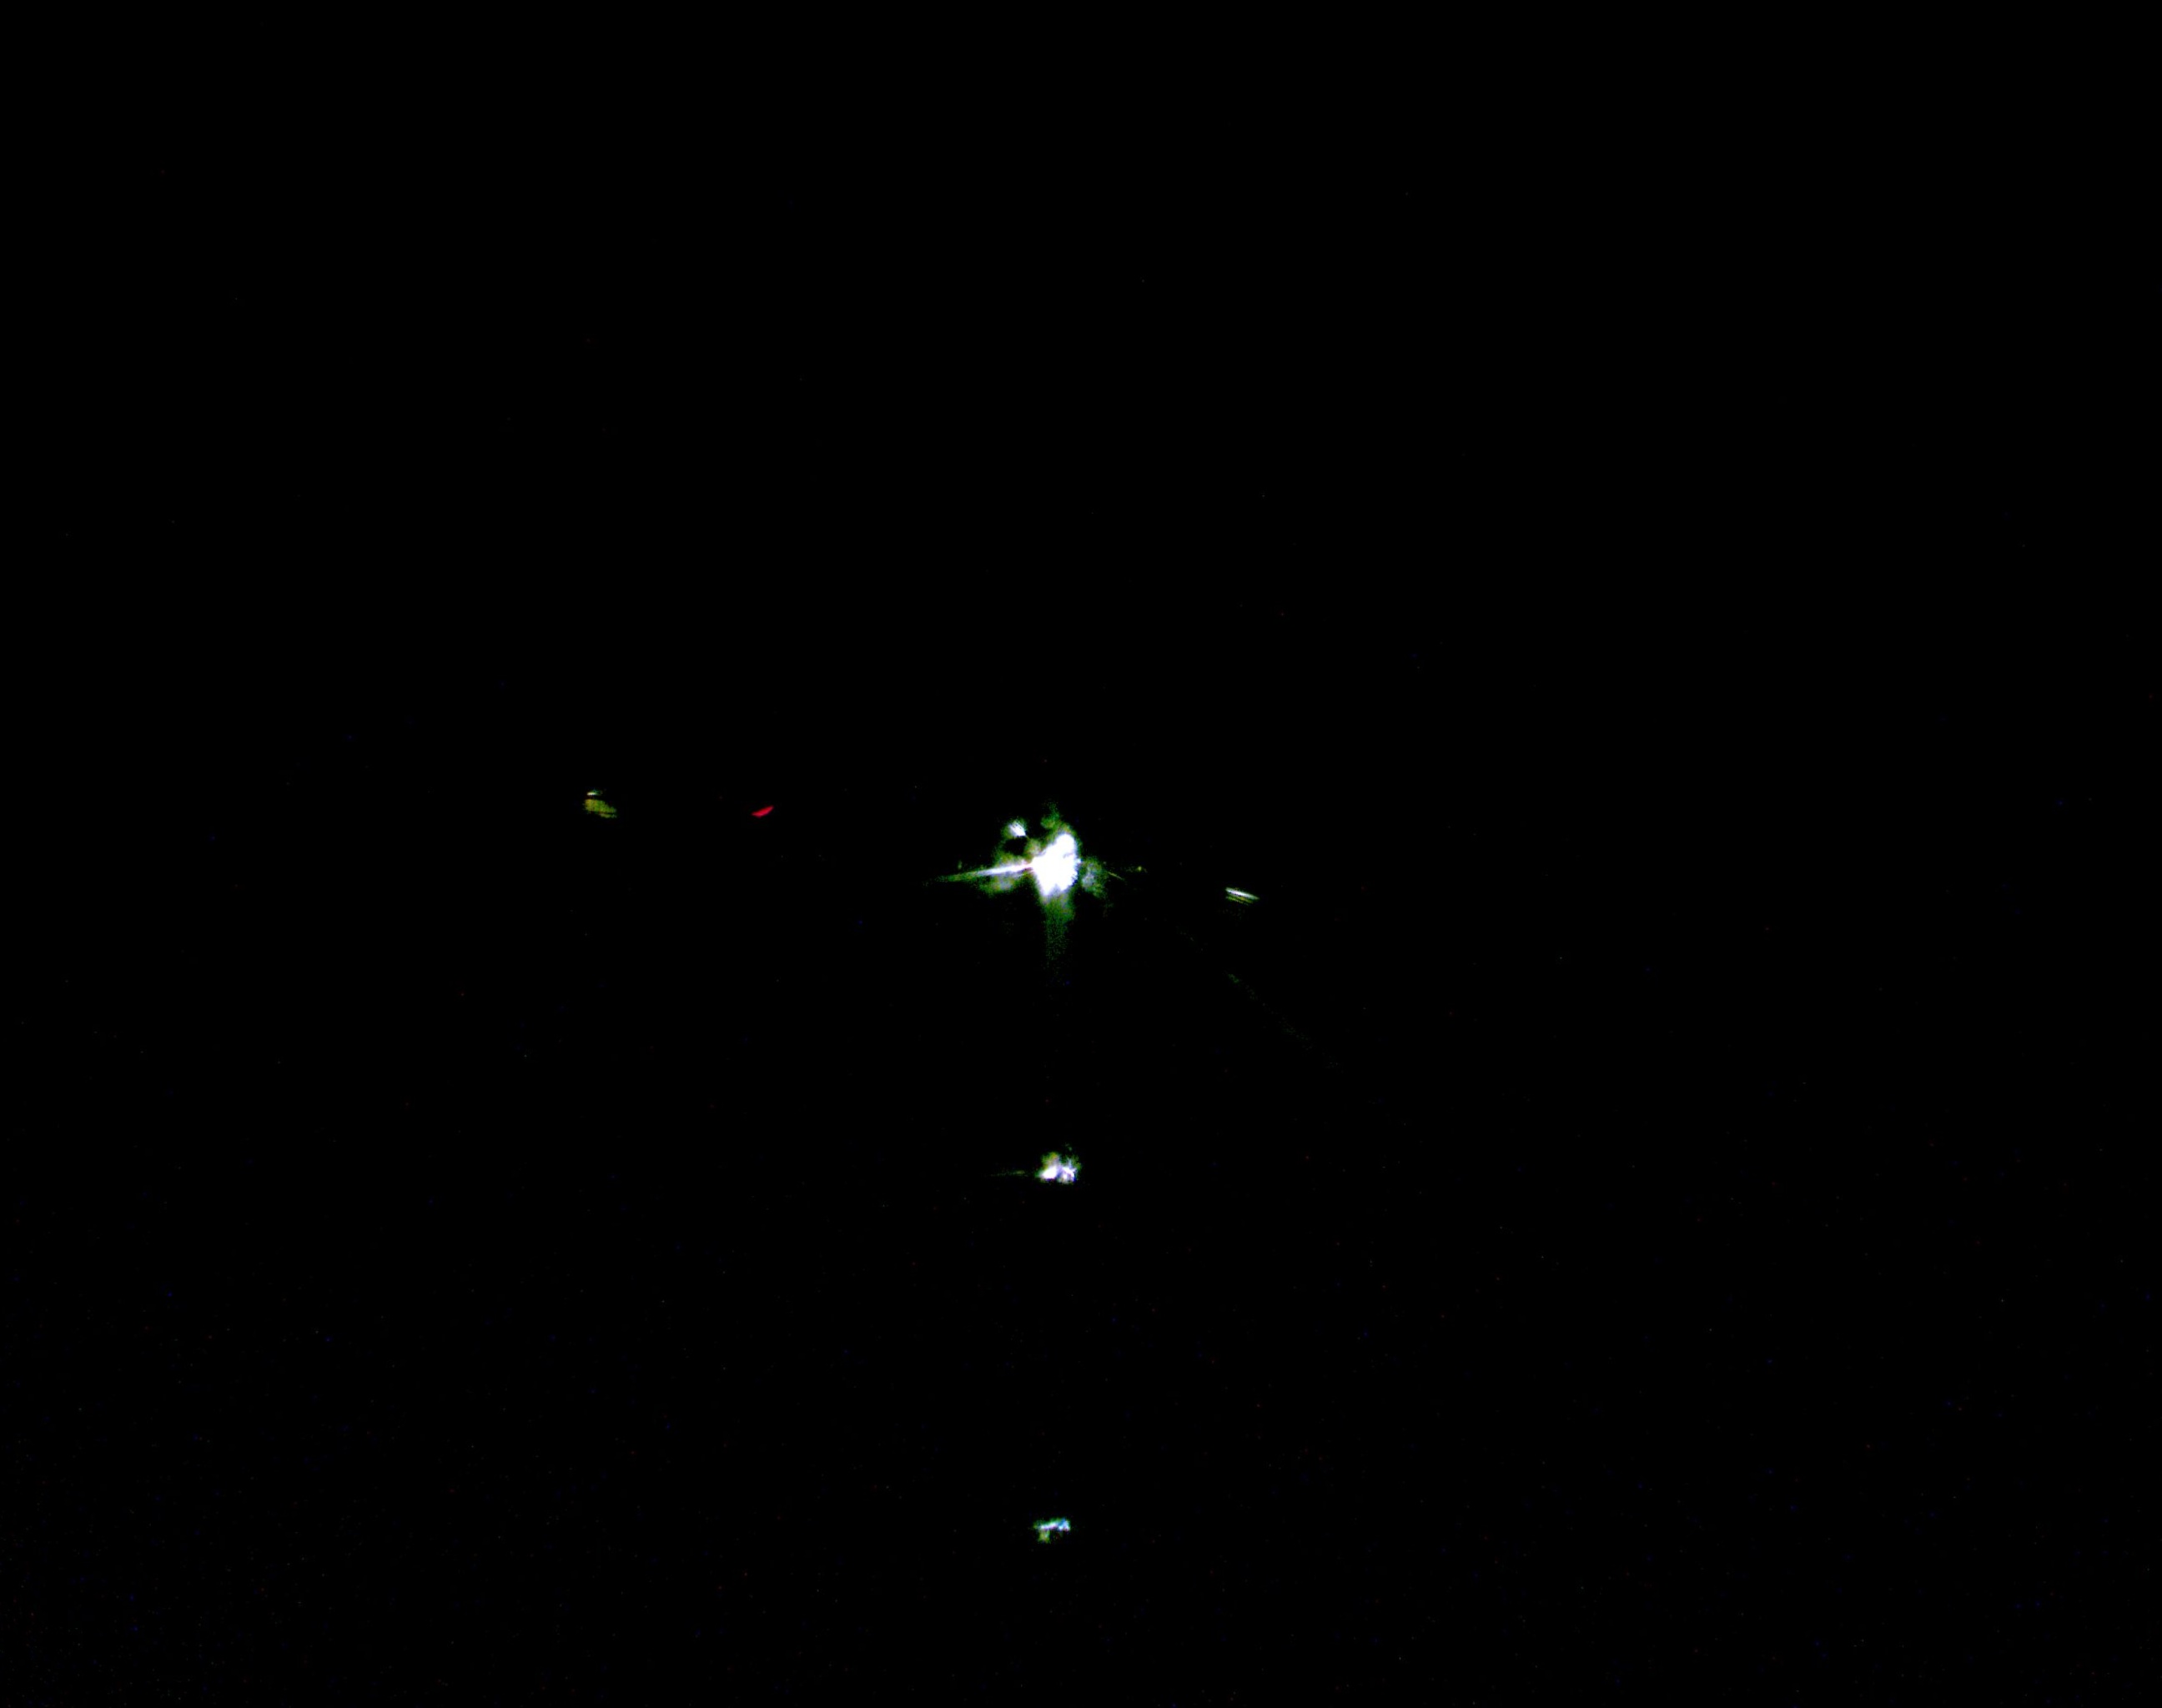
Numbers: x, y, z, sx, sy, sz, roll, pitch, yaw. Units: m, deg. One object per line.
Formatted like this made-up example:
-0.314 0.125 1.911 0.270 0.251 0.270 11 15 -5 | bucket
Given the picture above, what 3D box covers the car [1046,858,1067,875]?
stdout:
-2.447 1.230 81.972 1.987 1.500 4.000 -1 1 0 | car
